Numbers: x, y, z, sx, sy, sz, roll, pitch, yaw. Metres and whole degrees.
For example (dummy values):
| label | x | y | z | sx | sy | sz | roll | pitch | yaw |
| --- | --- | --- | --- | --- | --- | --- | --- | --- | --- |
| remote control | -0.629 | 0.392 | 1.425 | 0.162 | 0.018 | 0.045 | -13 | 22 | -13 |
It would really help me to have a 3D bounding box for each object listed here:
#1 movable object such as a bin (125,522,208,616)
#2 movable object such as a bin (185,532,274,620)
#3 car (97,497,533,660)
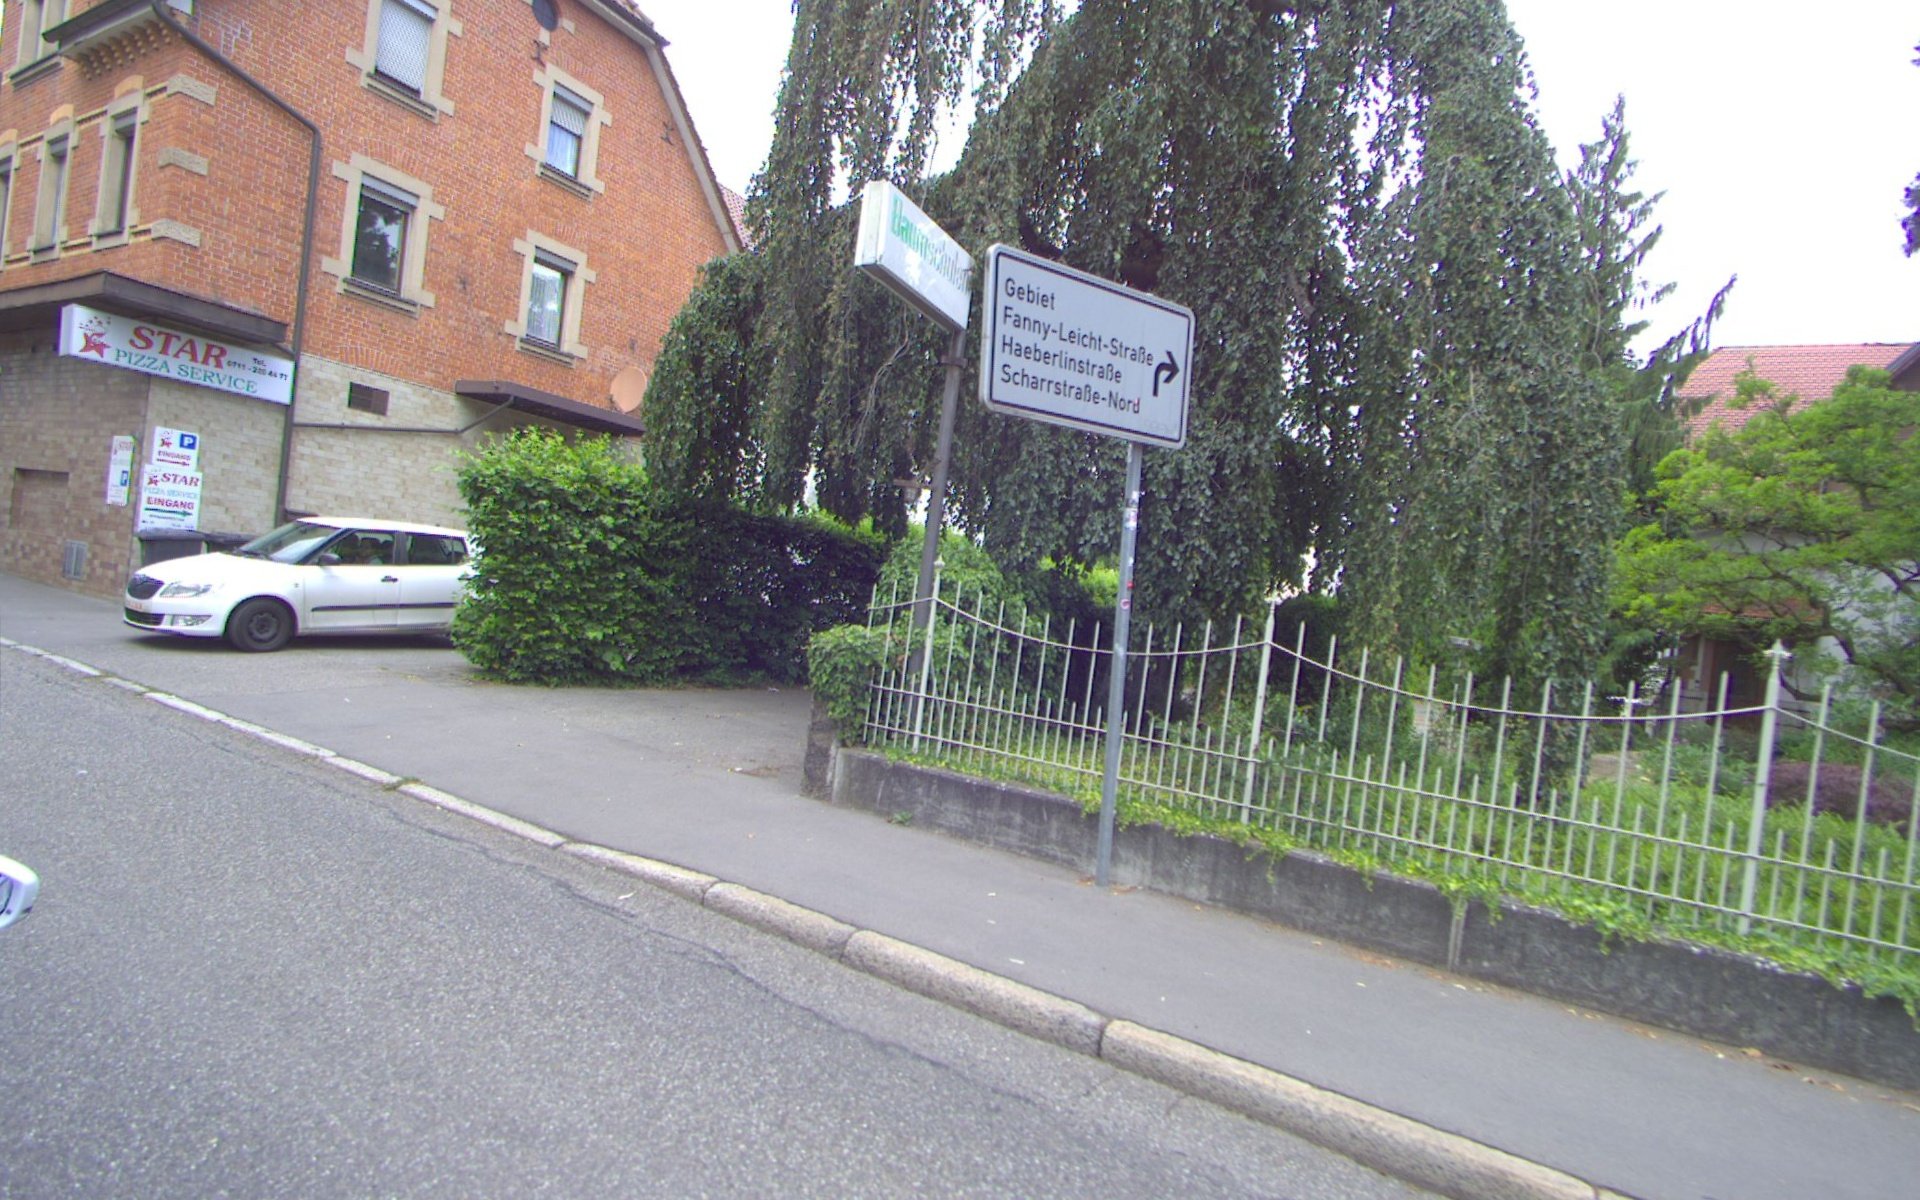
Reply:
| label | x | y | z | sx | sy | sz | roll | pitch | yaw |
| --- | --- | --- | --- | --- | --- | --- | --- | --- | --- |
| movable object such as a bin | -10.166 | -0.388 | 12.889 | 0.612 | 1.115 | 0.606 | 7 | 2 | 32 |
| movable object such as a bin | -9.807 | -0.315 | 13.506 | 0.711 | 1.073 | 0.698 | 7 | 2 | 32 |
| car | -7.300 | -0.241 | 11.834 | 1.574 | 1.491 | 4.029 | 7 | 3 | 29 |
